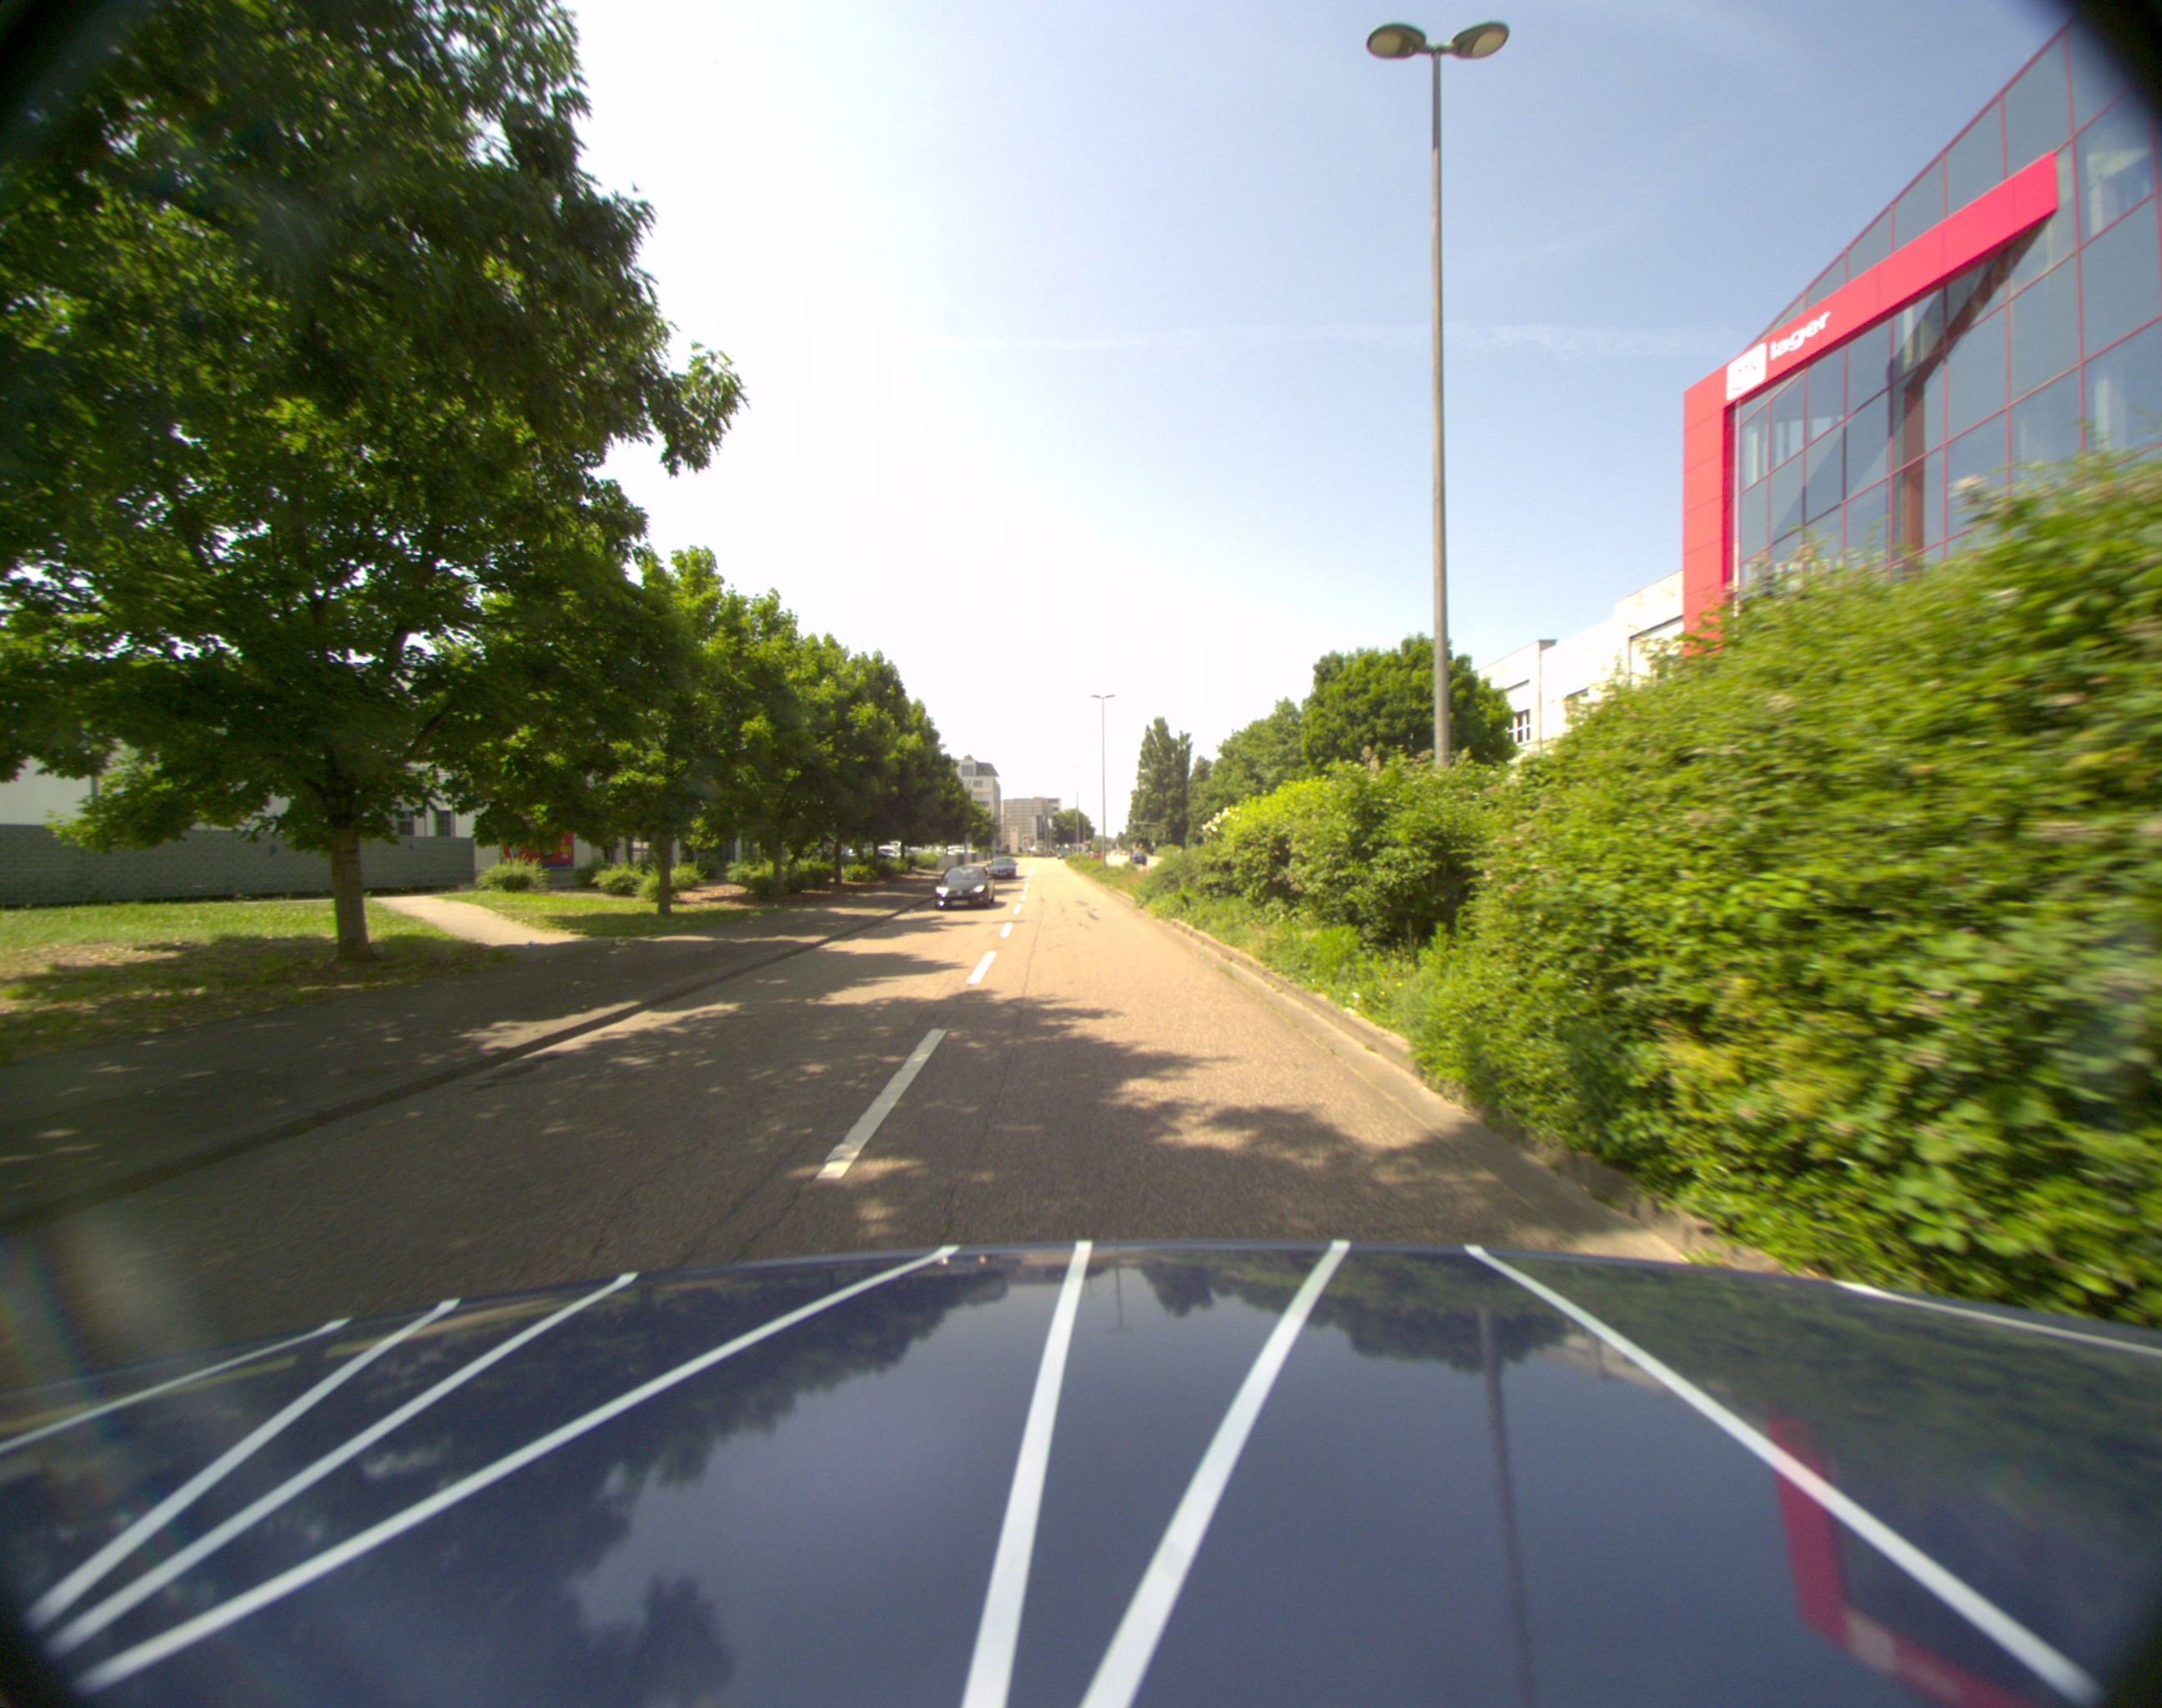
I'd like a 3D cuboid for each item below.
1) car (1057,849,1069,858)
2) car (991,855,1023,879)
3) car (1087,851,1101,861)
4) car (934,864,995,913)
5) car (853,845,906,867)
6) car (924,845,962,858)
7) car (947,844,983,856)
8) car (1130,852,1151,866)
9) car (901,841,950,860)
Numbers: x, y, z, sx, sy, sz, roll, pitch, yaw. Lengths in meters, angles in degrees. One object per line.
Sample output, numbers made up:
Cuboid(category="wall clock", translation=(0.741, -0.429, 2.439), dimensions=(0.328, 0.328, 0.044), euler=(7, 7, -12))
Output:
Cuboid(category="car", translation=(-2.862, -0.036, 121.029), dimensions=(1.868, 1.390, 3.999), euler=(0, 0, 0))
Cuboid(category="car", translation=(-4.619, 0.798, 47.657), dimensions=(1.712, 1.316, 3.954), euler=(-1, 1, -2))
Cuboid(category="car", translation=(1.809, 0.231, 104.588), dimensions=(1.734, 1.316, 4.148), euler=(1, 1, -2))
Cuboid(category="car", translation=(-3.725, 1.075, 24.752), dimensions=(1.642, 1.349, 3.498), euler=(-1, 1, -4))
Cuboid(category="car", translation=(-16.865, 0.150, 63.820), dimensions=(3.999, 1.587, 1.826), euler=(-2, 1, -5))
Cuboid(category="car", translation=(-15.349, -0.239, 84.706), dimensions=(4.007, 1.413, 1.697), euler=(0, 1, -1))
Cuboid(category="car", translation=(-15.547, -0.533, 102.121), dimensions=(4.588, 1.496, 1.697), euler=(0, 1, -2))
Cuboid(category="car", translation=(6.341, 0.490, 81.334), dimensions=(1.726, 1.408, 4.245), euler=(2, 0, -3))
Cuboid(category="car", translation=(-15.829, -0.361, 77.497), dimensions=(4.629, 1.913, 1.826), euler=(0, 1, -1))
